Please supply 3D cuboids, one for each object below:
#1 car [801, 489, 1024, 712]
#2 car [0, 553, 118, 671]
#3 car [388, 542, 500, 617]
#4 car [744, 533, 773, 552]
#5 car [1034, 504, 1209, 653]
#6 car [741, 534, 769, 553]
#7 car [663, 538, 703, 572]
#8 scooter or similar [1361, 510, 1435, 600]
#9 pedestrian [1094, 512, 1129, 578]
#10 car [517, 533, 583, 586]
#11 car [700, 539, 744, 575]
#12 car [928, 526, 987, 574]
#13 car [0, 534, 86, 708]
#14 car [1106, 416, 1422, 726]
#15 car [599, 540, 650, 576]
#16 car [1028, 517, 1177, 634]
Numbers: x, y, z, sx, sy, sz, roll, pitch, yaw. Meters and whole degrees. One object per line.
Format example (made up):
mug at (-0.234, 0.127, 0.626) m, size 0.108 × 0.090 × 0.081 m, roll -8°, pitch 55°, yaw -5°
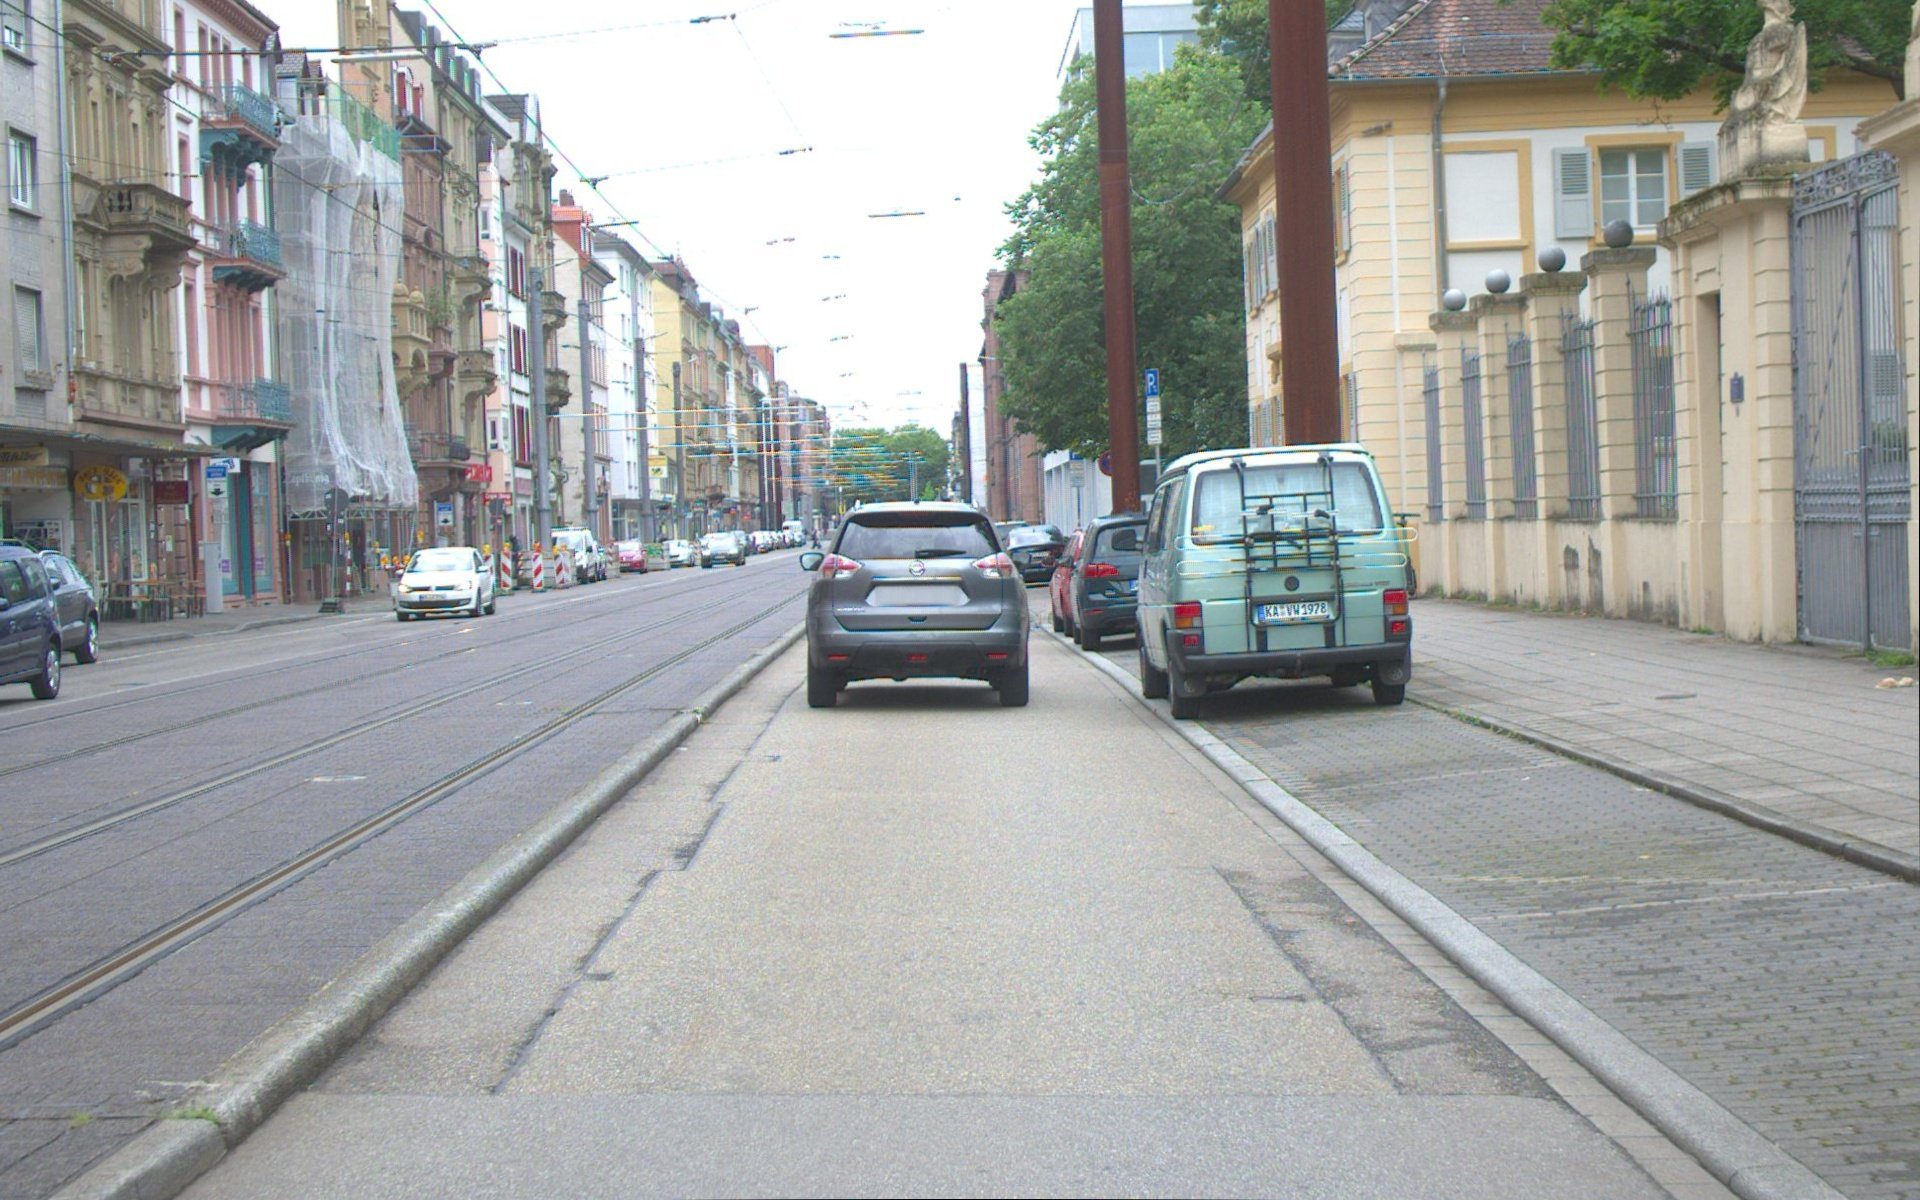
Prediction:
car at (-0.405, -0.034, 29.192) m, size 1.749 × 1.750 × 3.924 m, roll -1°, pitch 1°, yaw -1°
car at (-13.005, 0.150, 47.270) m, size 1.776 × 1.499 × 4.402 m, roll -2°, pitch 1°, yaw -1°
car at (-10.560, -0.447, 70.603) m, size 1.687 × 1.415 × 4.135 m, roll -2°, pitch 1°, yaw -1°
car at (-14.505, -4.133, 247.019) m, size 1.993 × 1.262 × 4.000 m, roll -2°, pitch 0°, yaw -4°
car at (1.909, -0.288, 41.683) m, size 1.749 × 1.590 × 3.924 m, roll -5°, pitch 1°, yaw -1°
car at (-15.120, -4.156, 253.002) m, size 1.993 × 1.262 × 4.000 m, roll -2°, pitch 0°, yaw -4°
car at (-14.310, -2.310, 177.765) m, size 1.993 × 1.629 × 4.000 m, roll -2°, pitch 0°, yaw -4°
scooter or similar at (6.254, -0.632, 49.123) m, size 0.747 × 1.246 × 1.919 m, roll -2°, pitch 0°, yaw -1°
pedestrian at (4.398, -1.585, 99.839) m, size 0.910 × 1.880 × 0.846 m, roll -2°, pitch 0°, yaw -1°
car at (-13.877, -1.359, 116.539) m, size 1.993 × 1.700 × 4.000 m, roll -2°, pitch 0°, yaw -4°
car at (-11.180, -2.007, 161.314) m, size 1.993 × 1.629 × 4.000 m, roll -2°, pitch 0°, yaw -4°
car at (-0.093, -1.591, 108.884) m, size 1.776 × 1.415 × 4.135 m, roll -2°, pitch 1°, yaw -1°
car at (-10.112, 0.211, 33.978) m, size 1.759 × 1.666 × 4.614 m, roll -2°, pitch 1°, yaw 0°
car at (2.314, -0.264, 27.437) m, size 1.851 × 2.107 × 4.985 m, roll -5°, pitch 1°, yaw -1°
car at (-14.310, -1.794, 146.899) m, size 1.993 × 1.459 × 4.000 m, roll -2°, pitch 0°, yaw -4°
car at (1.950, -0.374, 48.083) m, size 1.749 × 1.436 × 3.924 m, roll -5°, pitch 1°, yaw -1°
